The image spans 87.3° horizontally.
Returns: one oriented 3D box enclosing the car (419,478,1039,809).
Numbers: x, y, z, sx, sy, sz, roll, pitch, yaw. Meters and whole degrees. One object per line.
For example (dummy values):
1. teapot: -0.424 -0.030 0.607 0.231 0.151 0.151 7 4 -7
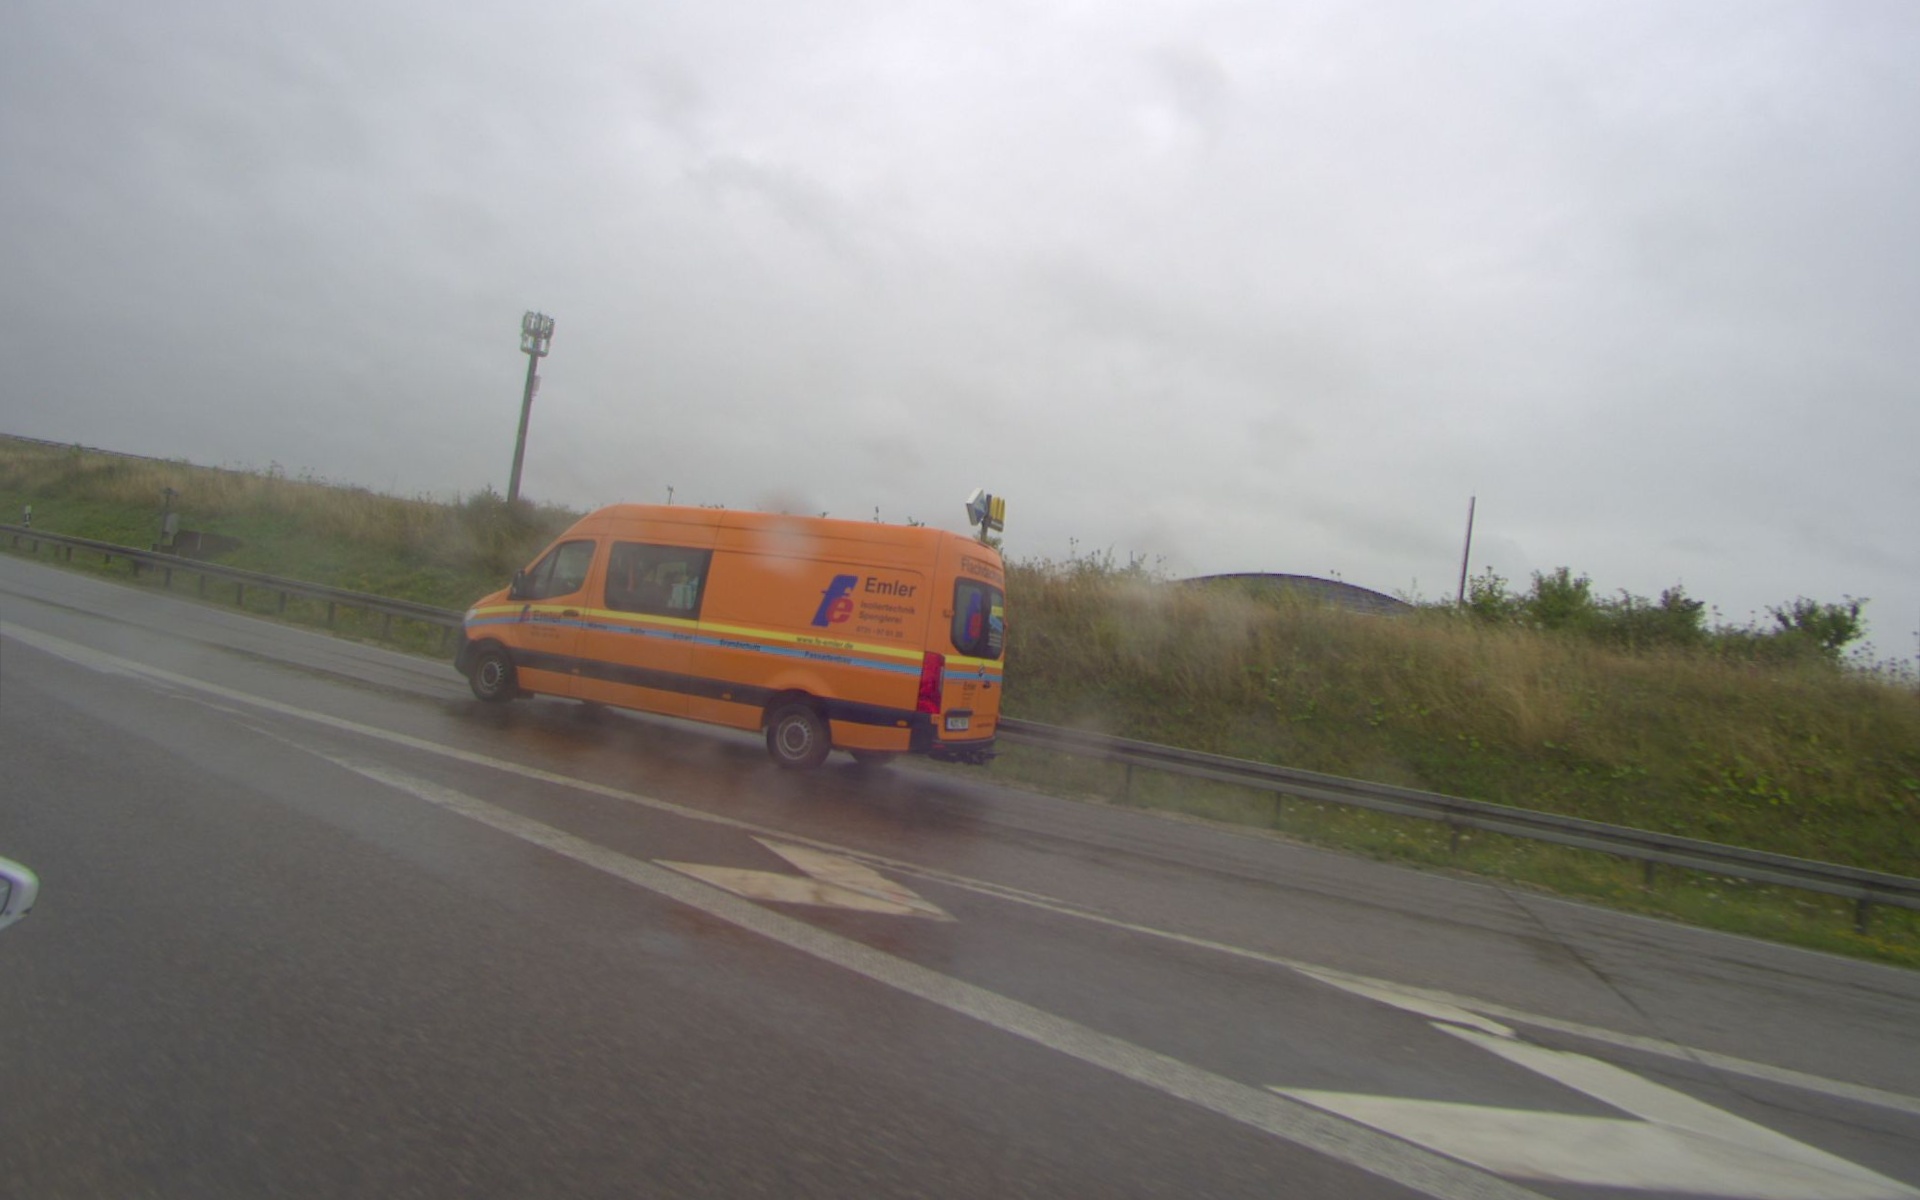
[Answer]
1. car: -2.763 0.348 11.616 6.760 2.644 2.069 7 -2 23
